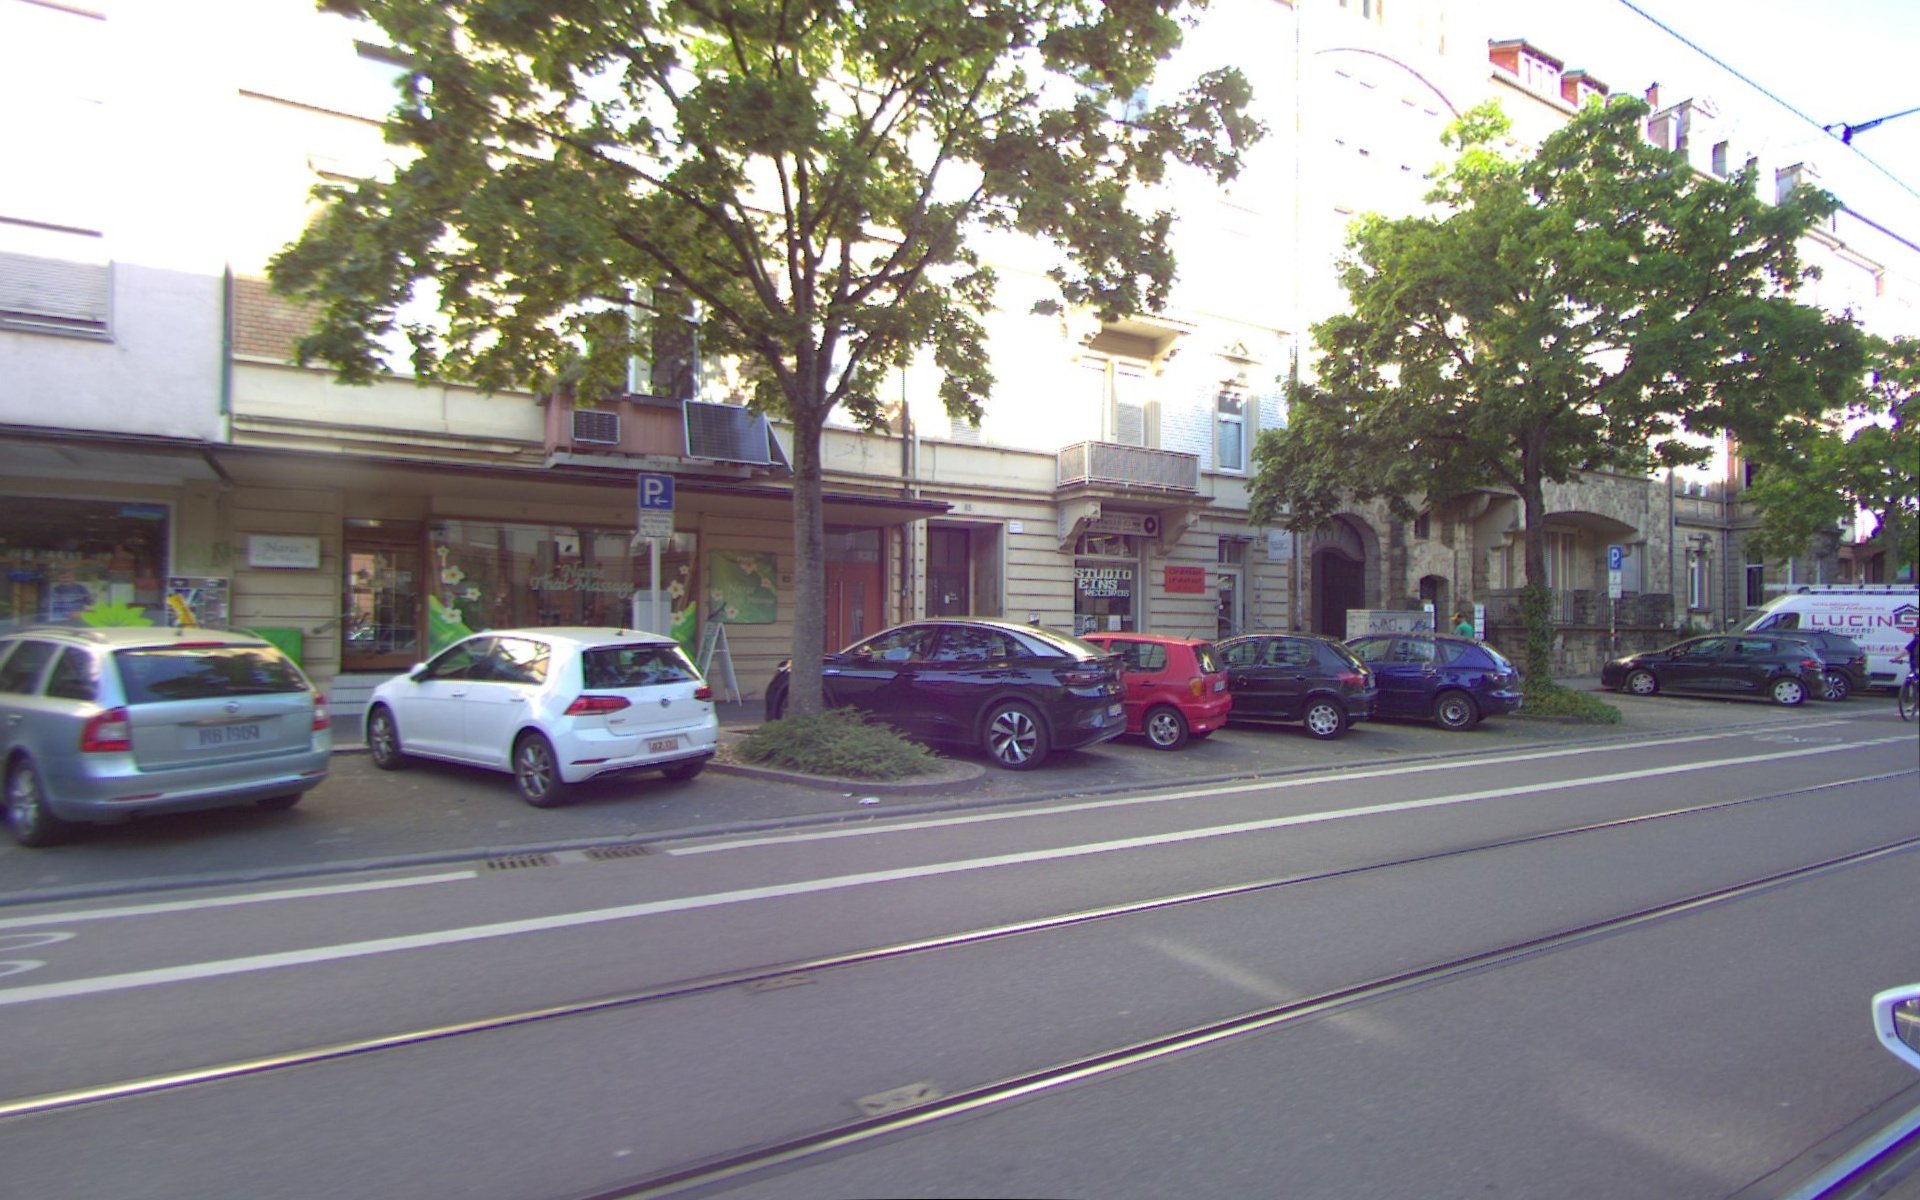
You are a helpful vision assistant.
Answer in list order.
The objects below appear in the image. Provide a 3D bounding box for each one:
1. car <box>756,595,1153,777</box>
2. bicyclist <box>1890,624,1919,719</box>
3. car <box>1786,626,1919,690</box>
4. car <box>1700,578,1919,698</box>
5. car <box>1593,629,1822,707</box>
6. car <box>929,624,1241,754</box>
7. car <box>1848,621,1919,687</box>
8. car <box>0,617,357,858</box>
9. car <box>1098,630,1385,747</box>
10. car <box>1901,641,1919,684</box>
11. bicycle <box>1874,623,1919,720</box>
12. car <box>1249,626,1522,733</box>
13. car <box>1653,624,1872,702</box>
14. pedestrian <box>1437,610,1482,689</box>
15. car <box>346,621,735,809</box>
[{"bbox_3d":[-0.087,0.879,11.945,4.287,1.806,1.993,0,-1,28],"label":"car"},{"bbox_3d":[17.660,1.307,18.475,0.718,1.703,0.631,1,-1,-30],"label":"bicyclist"},{"bbox_3d":[25.742,1.586,27.398,4.684,1.639,1.710,0,-1,28],"label":"car"},{"bbox_3d":[21.678,0.909,24.810,5.293,2.785,1.802,0,-1,31],"label":"car"},{"bbox_3d":[16.648,1.452,22.478,3.945,1.509,1.795,0,-1,44],"label":"car"},{"bbox_3d":[1.734,1.135,14.035,3.927,1.509,1.865,0,-1,28],"label":"car"},{"bbox_3d":[28.105,1.568,28.674,3.934,1.841,1.707,0,-1,35],"label":"car"},{"bbox_3d":[-6.811,0.895,8.051,3.947,1.468,1.696,0,-1,30],"label":"car"},{"bbox_3d":[4.272,1.249,15.310,3.927,1.509,1.804,0,-1,28],"label":"car"},{"bbox_3d":[30.997,1.929,30.199,3.746,1.282,1.512,0,-1,35],"label":"car"},{"bbox_3d":[17.641,1.290,18.454,2.072,1.701,0.677,2,-1,-30],"label":"bicycle"},{"bbox_3d":[7.026,1.227,16.673,3.931,1.509,1.802,0,-1,33],"label":"car"},{"bbox_3d":[18.864,1.426,23.857,3.934,1.639,1.707,0,-1,35],"label":"car"},{"bbox_3d":[11.298,1.111,22.725,0.753,1.749,0.575,1,-1,-31],"label":"pedestrian"},{"bbox_3d":[-4.183,0.969,9.857,3.780,1.448,1.761,0,-1,35],"label":"car"}]
